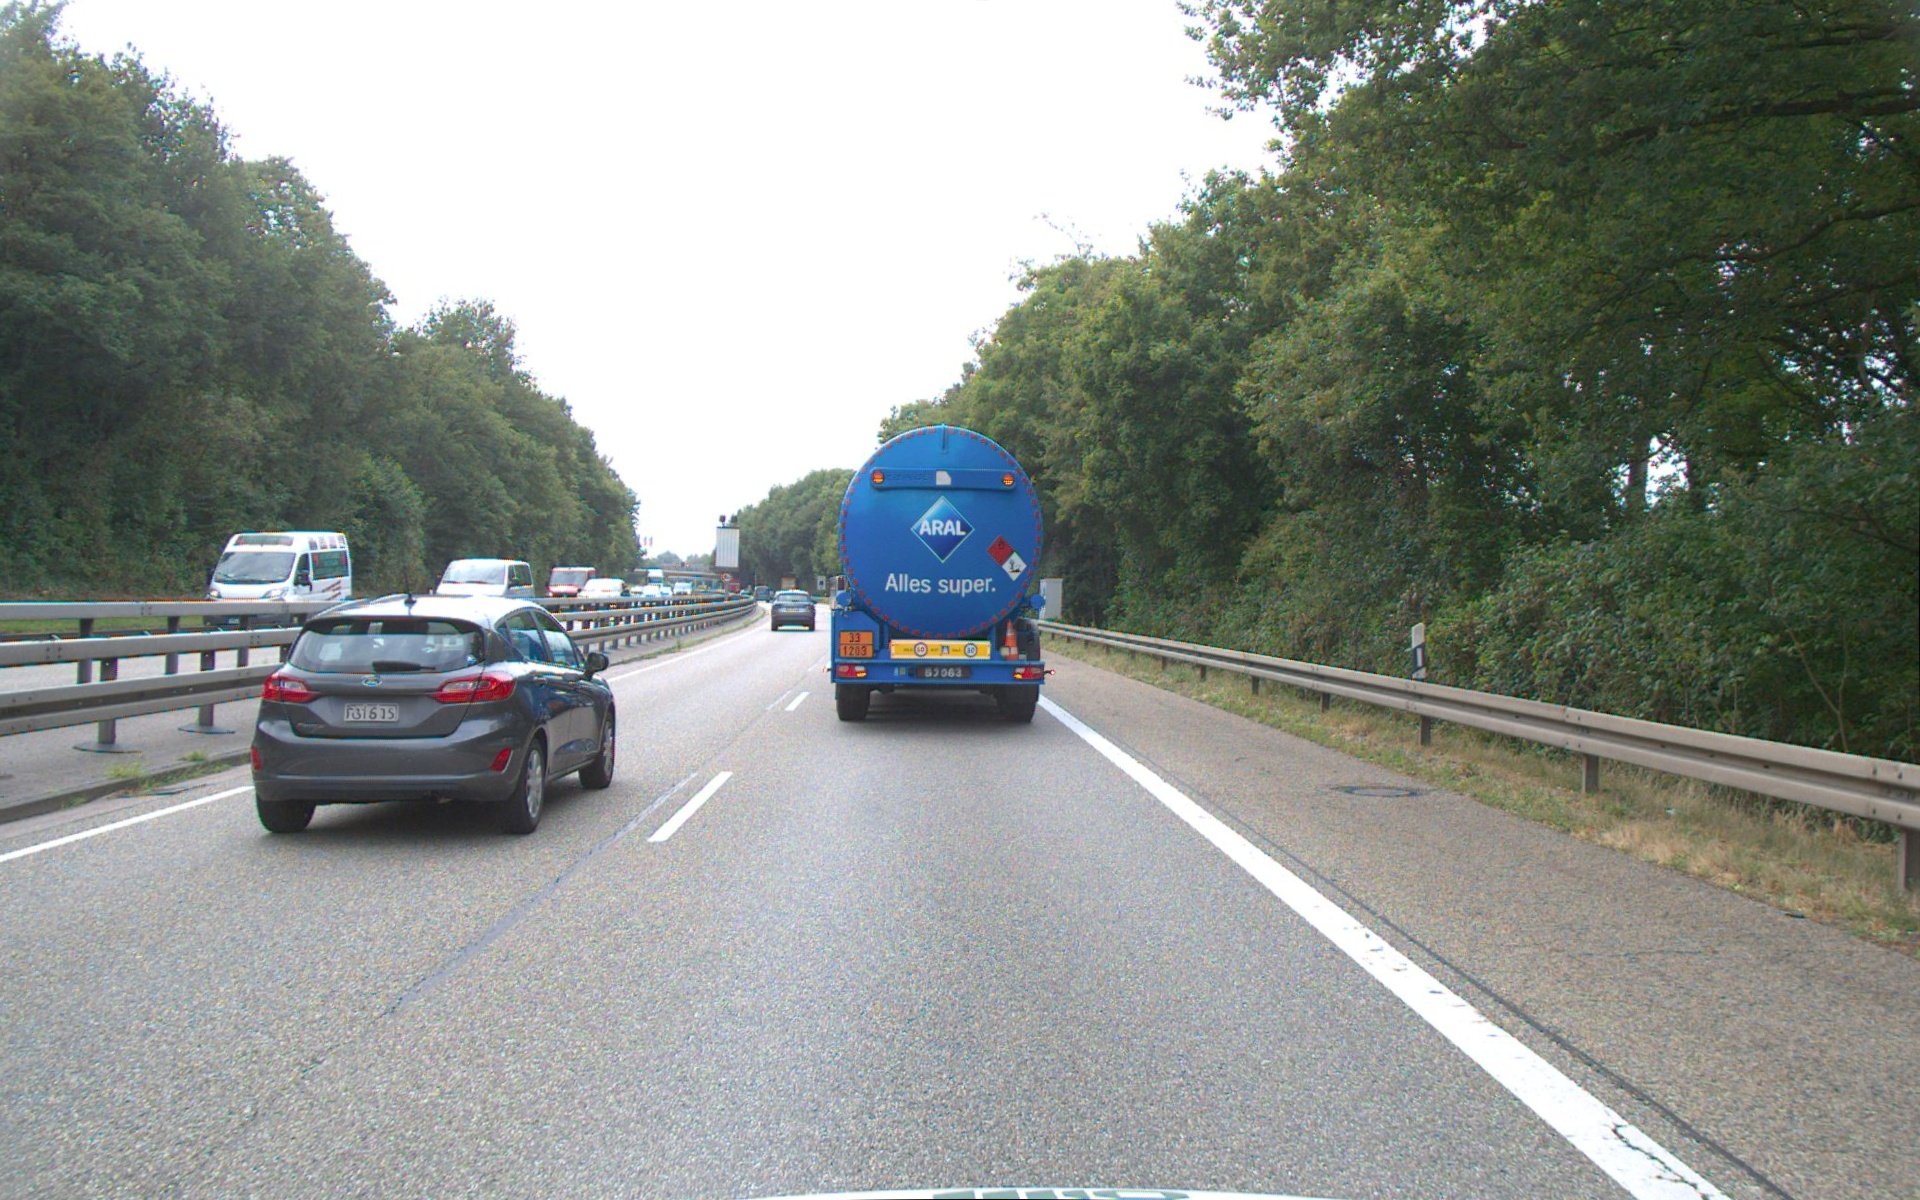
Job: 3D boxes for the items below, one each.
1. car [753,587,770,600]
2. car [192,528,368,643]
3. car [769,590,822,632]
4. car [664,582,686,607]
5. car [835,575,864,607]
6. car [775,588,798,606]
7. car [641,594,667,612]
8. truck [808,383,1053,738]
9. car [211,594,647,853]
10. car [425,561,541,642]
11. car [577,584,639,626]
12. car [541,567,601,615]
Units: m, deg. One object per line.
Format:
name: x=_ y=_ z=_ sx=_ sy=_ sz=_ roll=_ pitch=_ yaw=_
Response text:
car: x=-24.707 y=-0.785 z=206.144 sx=1.957 sy=1.579 sz=3.992 roll=0 pitch=0 yaw=-9
car: x=-16.770 y=-0.333 z=41.147 sx=2.265 sy=2.656 sz=5.550 roll=0 pitch=0 yaw=-3
car: x=-6.714 y=0.442 z=67.907 sx=1.789 sy=1.637 sz=4.166 roll=0 pitch=0 yaw=-1
car: x=-27.108 y=-0.504 z=157.403 sx=1.899 sy=2.362 sz=5.295 roll=0 pitch=0 yaw=-8
car: x=-8.187 y=-0.660 z=122.660 sx=1.953 sy=2.284 sz=3.999 roll=0 pitch=0 yaw=-1
car: x=-16.256 y=-0.290 z=154.857 sx=1.918 sy=1.595 sz=3.993 roll=0 pitch=0 yaw=-8
car: x=-25.609 y=0.258 z=138.533 sx=1.660 sy=1.492 sz=4.086 roll=0 pitch=0 yaw=-4
truck: x=-0.379 y=-0.449 z=22.157 sx=2.699 sy=3.914 sz=7.687 roll=0 pitch=0 yaw=-1
car: x=-3.487 y=0.716 z=11.841 sx=1.789 sy=1.483 sz=4.637 roll=0 pitch=0 yaw=-2
car: x=-12.549 y=0.054 z=43.807 sx=1.785 sy=2.018 sz=5.055 roll=0 pitch=0 yaw=-2
car: x=-13.810 y=0.204 z=65.088 sx=1.746 sy=1.590 sz=4.012 roll=0 pitch=0 yaw=-3
car: x=-19.274 y=-0.413 z=82.180 sx=2.025 sy=2.295 sz=5.371 roll=0 pitch=0 yaw=-4
